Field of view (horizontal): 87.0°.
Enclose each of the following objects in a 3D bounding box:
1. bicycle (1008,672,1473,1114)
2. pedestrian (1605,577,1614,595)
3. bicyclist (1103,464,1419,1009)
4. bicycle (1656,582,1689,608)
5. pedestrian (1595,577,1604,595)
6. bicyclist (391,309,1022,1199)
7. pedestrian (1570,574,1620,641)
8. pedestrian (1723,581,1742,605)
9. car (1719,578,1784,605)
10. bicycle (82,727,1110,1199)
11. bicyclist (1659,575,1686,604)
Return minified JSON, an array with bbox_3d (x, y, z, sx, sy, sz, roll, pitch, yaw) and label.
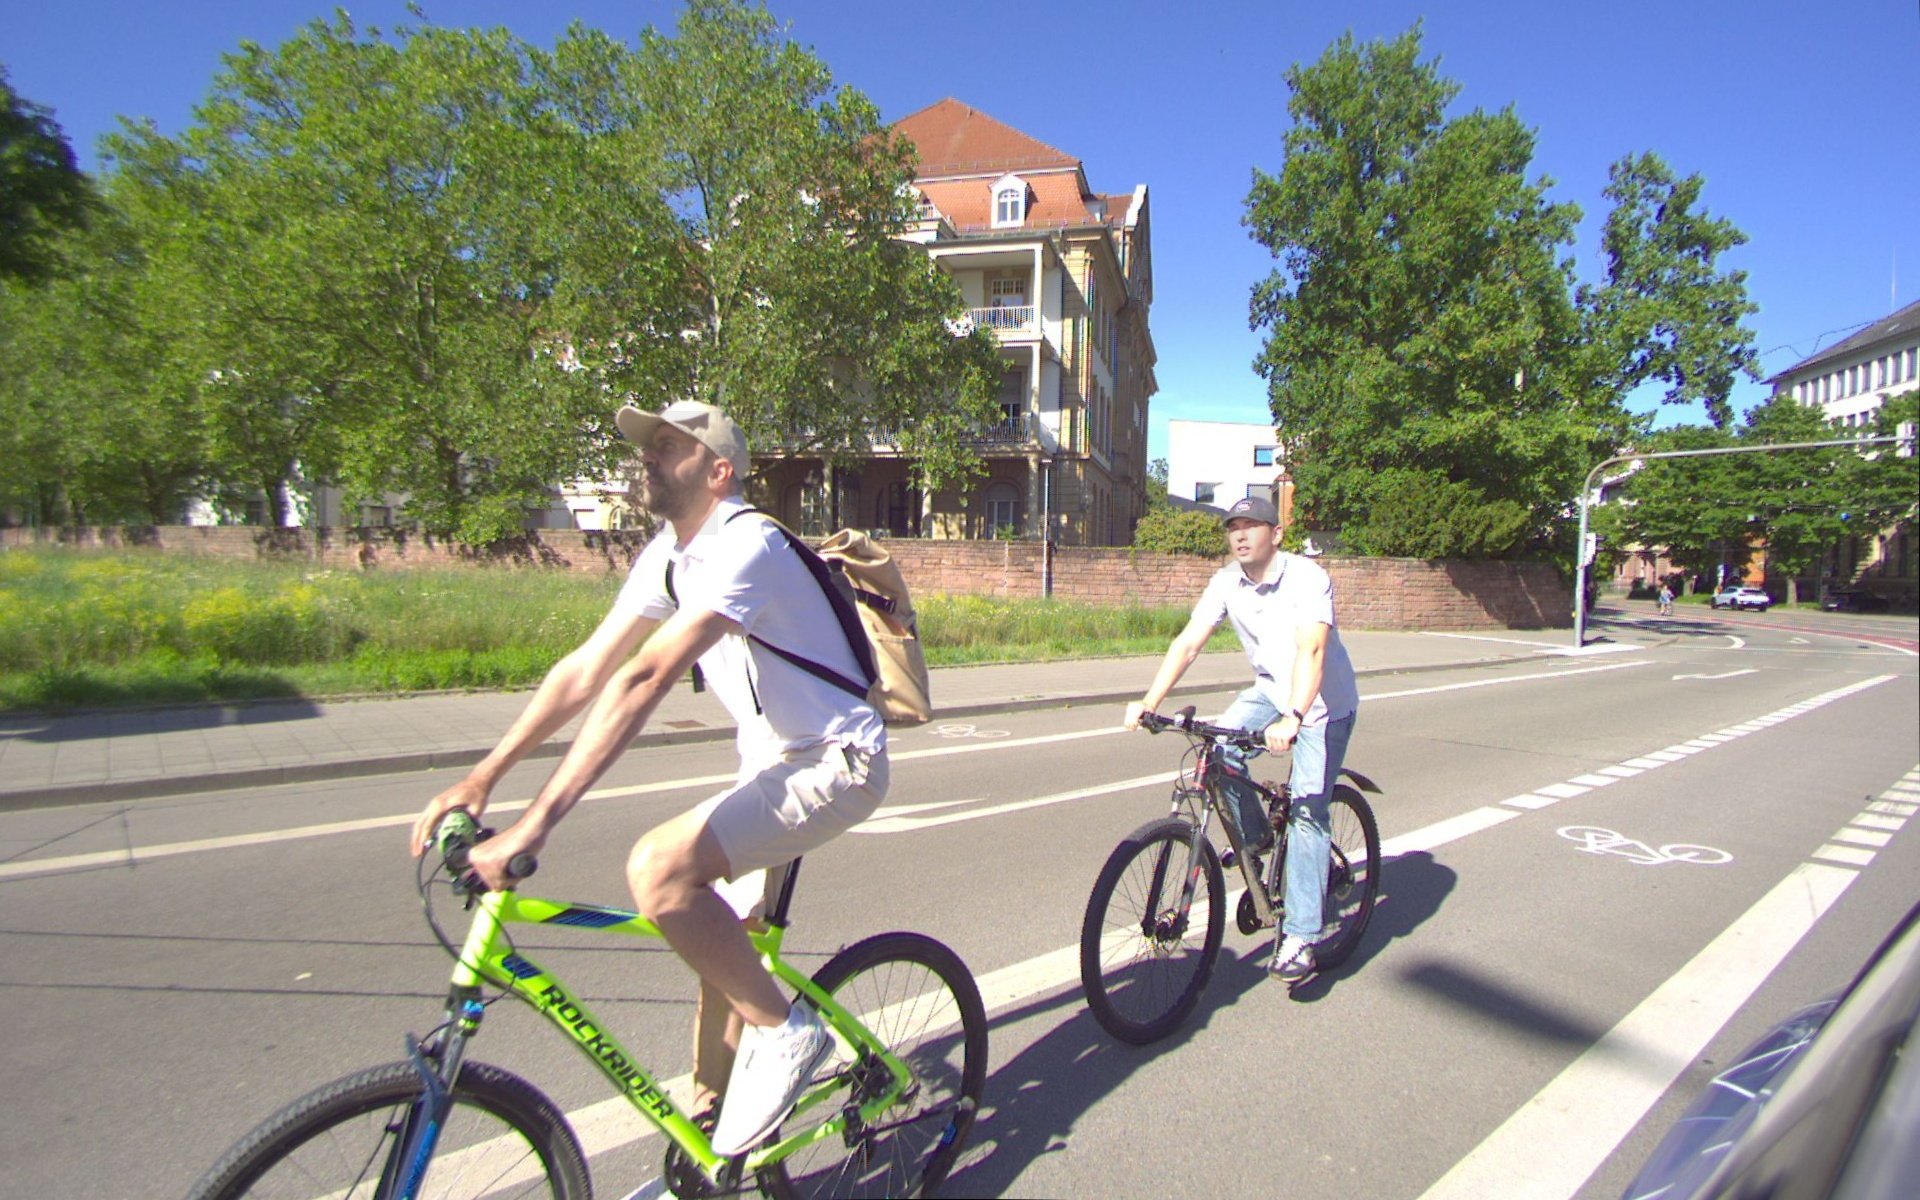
[{"bbox_3d":[1.112,0.883,3.731,1.870,1.063,0.749,0,2,-42],"label":"bicycle"},{"bbox_3d":[69.348,-1.475,108.064,0.752,1.835,0.969,2,2,34],"label":"pedestrian"},{"bbox_3d":[1.099,0.412,3.700,0.851,1.695,0.741,0,2,-42],"label":"bicyclist"},{"bbox_3d":[39.806,-0.277,56.561,0.753,1.385,2.720,2,2,20],"label":"bicycle"},{"bbox_3d":[68.391,-1.503,108.289,0.752,1.835,0.969,2,2,33],"label":"pedestrian"},{"bbox_3d":[-0.488,0.377,2.064,1.062,1.603,0.675,0,0,-41],"label":"bicyclist"},{"bbox_3d":[18.514,0.209,29.520,0.718,1.872,0.962,0,3,-36],"label":"pedestrian"},{"bbox_3d":[61.770,-0.579,80.910,0.745,1.835,0.978,1,1,9],"label":"pedestrian"},{"bbox_3d":[52.819,-0.615,67.640,1.822,1.571,4.316,3,3,15],"label":"car"},{"bbox_3d":[-0.545,0.901,2.011,1.812,1.064,0.672,0,0,-42],"label":"bicycle"},{"bbox_3d":[39.829,-0.613,56.571,0.859,1.579,1.272,2,2,20],"label":"bicyclist"}]
